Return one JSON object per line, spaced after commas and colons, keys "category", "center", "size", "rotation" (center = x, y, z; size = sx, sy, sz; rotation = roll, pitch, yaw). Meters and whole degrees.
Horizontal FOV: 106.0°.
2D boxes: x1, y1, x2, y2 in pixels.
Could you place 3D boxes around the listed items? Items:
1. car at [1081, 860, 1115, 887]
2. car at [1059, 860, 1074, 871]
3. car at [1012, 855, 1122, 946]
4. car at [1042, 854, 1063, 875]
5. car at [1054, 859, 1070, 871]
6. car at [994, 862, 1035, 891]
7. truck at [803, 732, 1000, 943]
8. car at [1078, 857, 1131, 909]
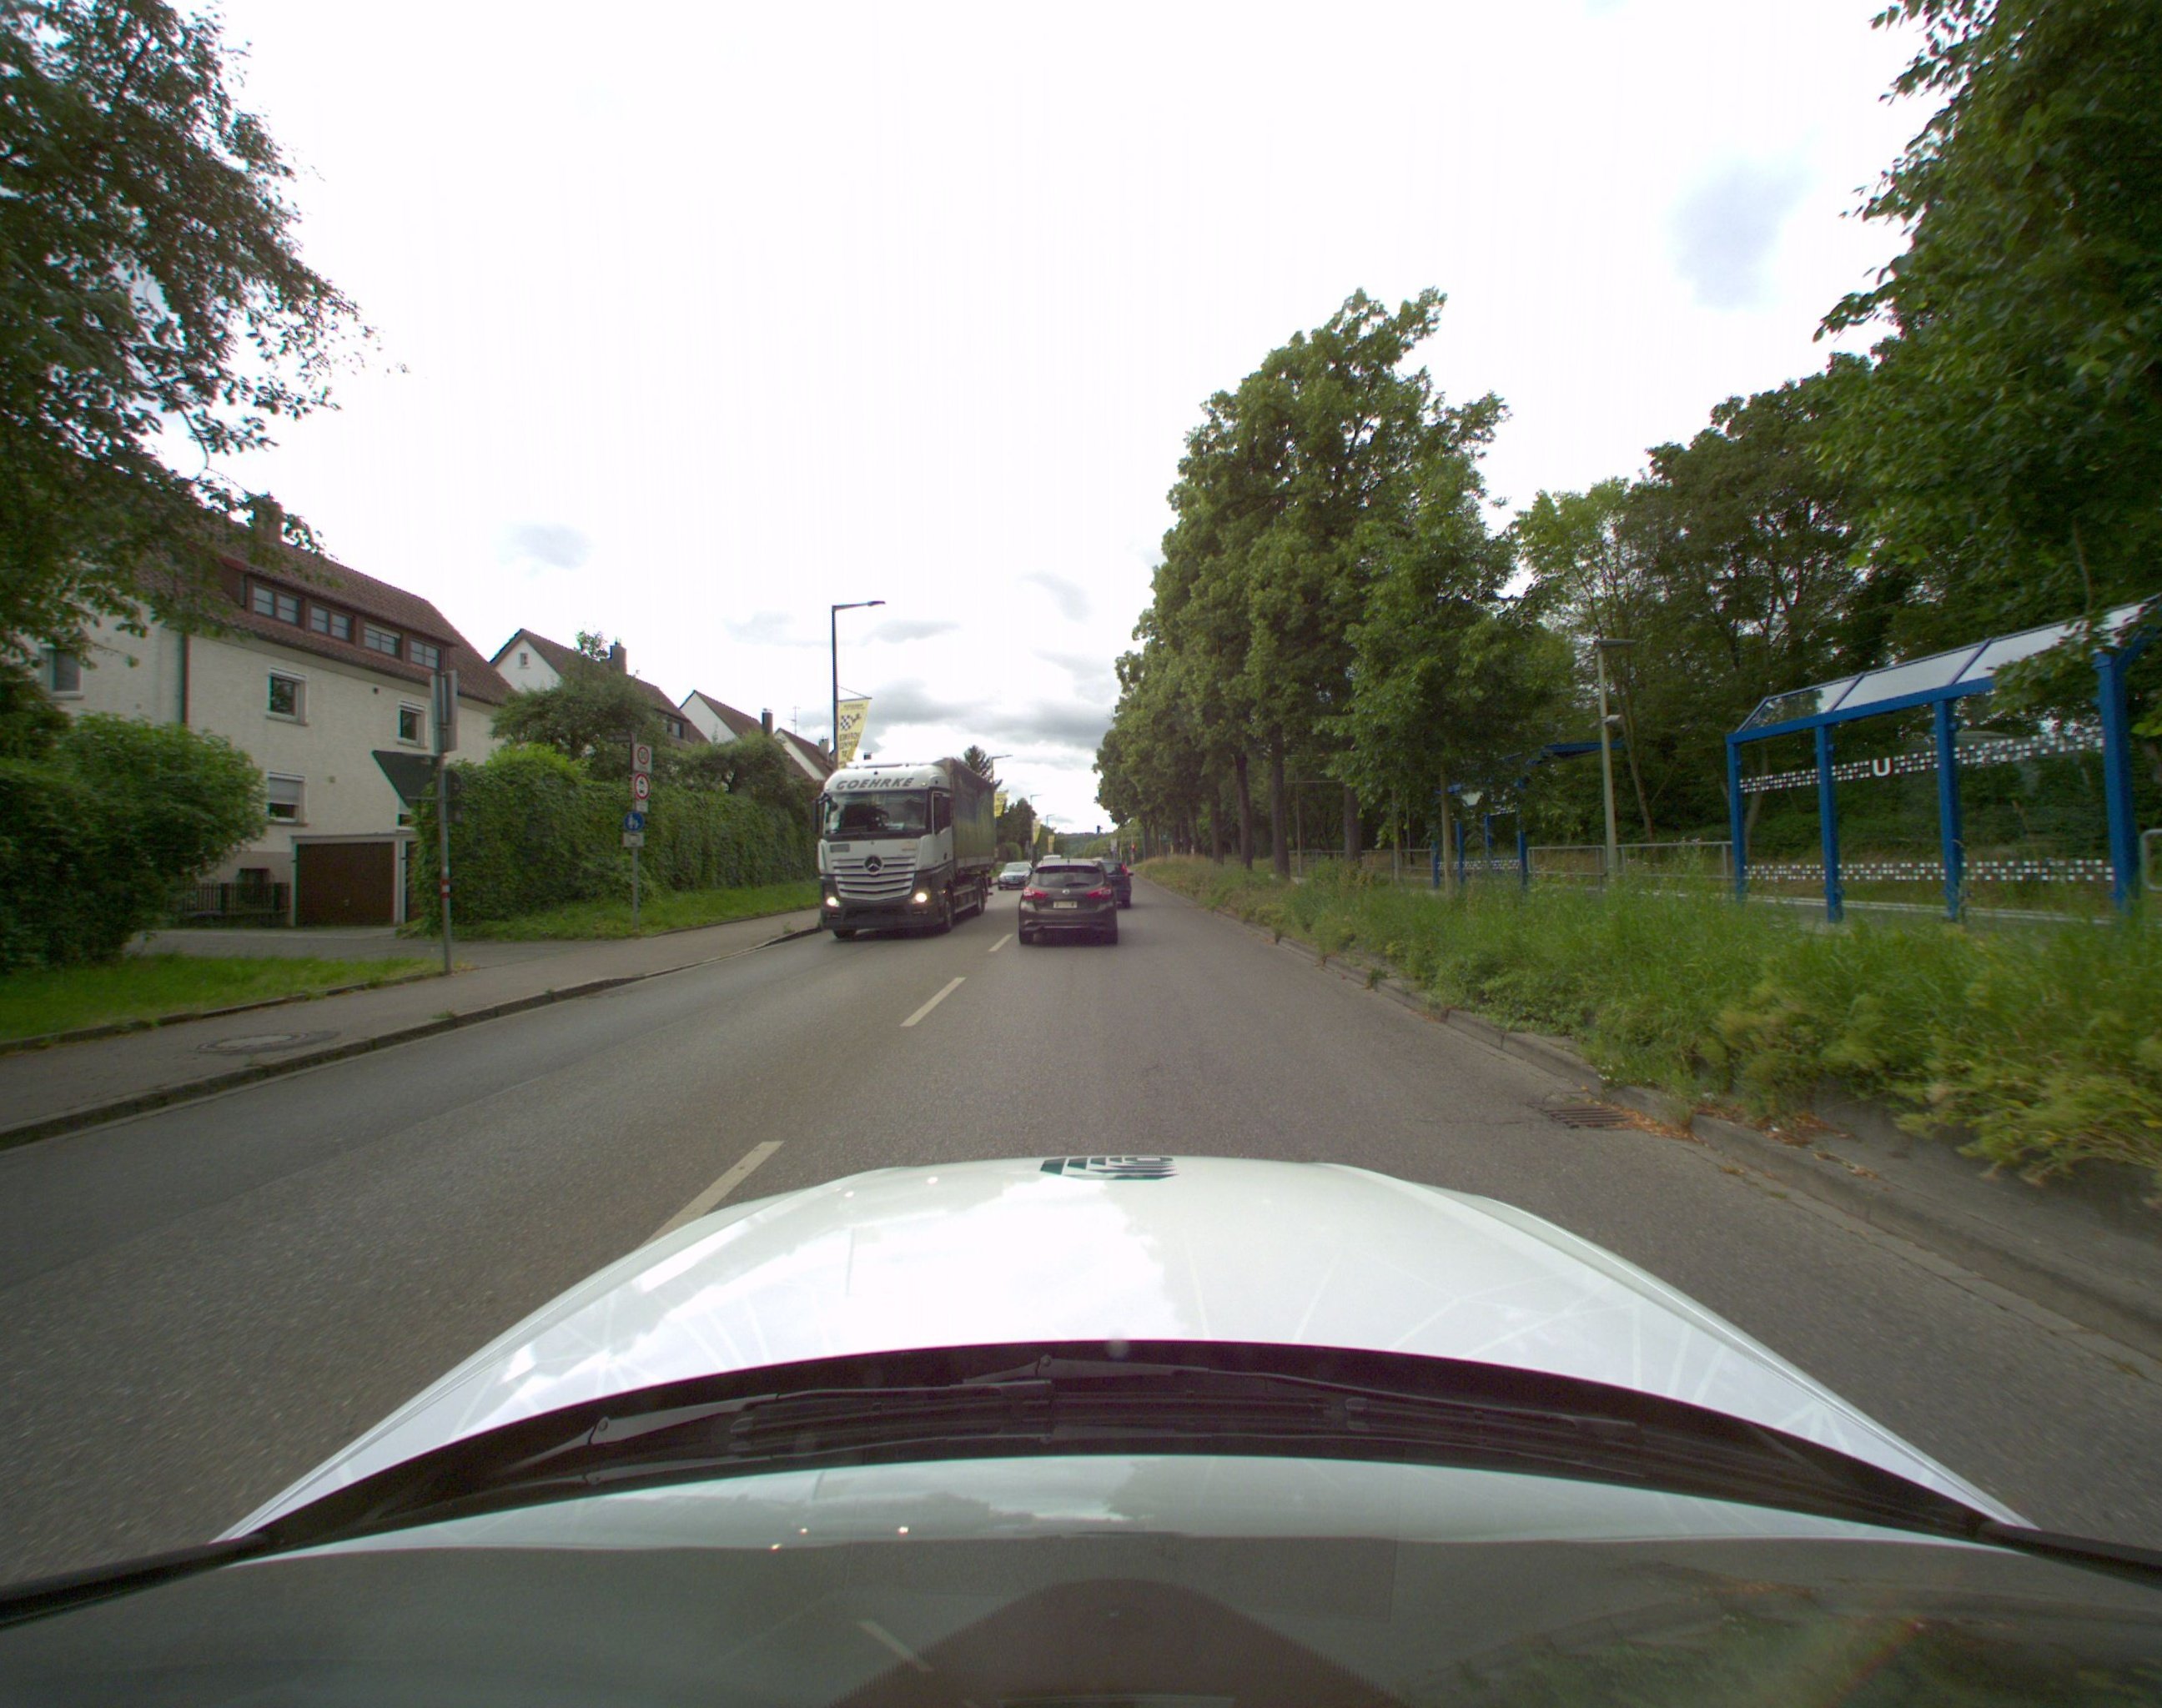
{"category": "car", "center": [0.949, 1.039, 45.795], "size": [1.785, 1.397, 4.001], "rotation": [-1, 0, 1]}
{"category": "car", "center": [-1.985, 1.569, 111.466], "size": [1.880, 1.383, 4.489], "rotation": [-3, 0, 0]}
{"category": "car", "center": [-0.178, 0.800, 16.100], "size": [1.828, 1.519, 4.484], "rotation": [-1, 0, 1]}
{"category": "car", "center": [-2.858, 1.043, 82.056], "size": [1.901, 1.932, 4.910], "rotation": [-2, 1, 0]}
{"category": "car", "center": [-2.309, 1.304, 99.579], "size": [1.645, 1.348, 4.478], "rotation": [-2, 0, 1]}
{"category": "car", "center": [-3.509, 1.172, 43.721], "size": [1.727, 1.375, 4.240], "rotation": [-3, 0, 0]}
{"category": "truck", "center": [-4.091, -0.258, 21.459], "size": [2.541, 4.044, 10.619], "rotation": [-3, -1, 0]}
{"category": "car", "center": [0.733, 0.868, 25.882], "size": [1.533, 1.478, 3.765], "rotation": [-2, 0, 1]}
